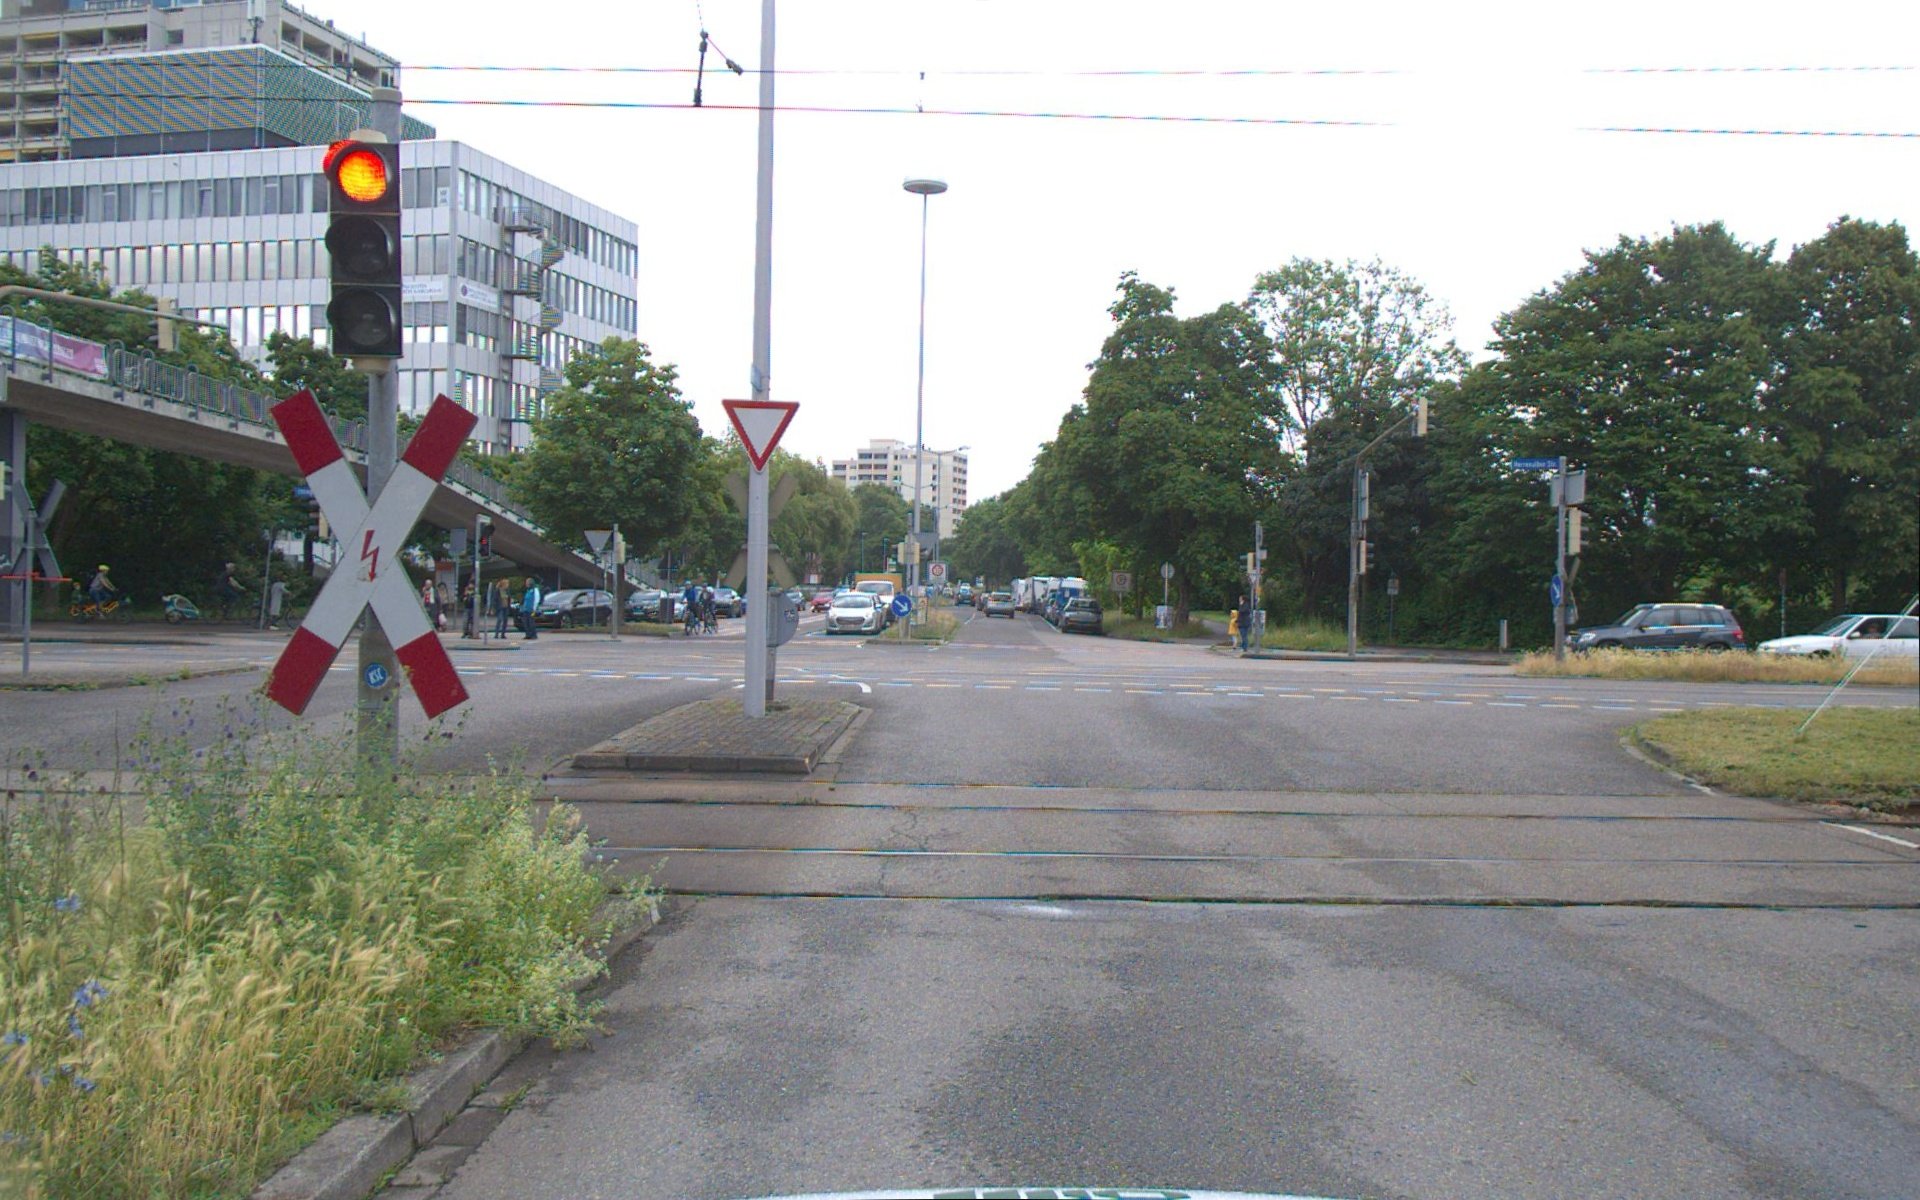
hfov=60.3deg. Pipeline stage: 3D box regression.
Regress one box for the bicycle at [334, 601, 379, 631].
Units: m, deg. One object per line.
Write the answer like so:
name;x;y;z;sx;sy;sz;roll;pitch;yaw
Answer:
bicycle;-20.150;0.512;55.265;0.618;0.941;2.523;1;1;-1

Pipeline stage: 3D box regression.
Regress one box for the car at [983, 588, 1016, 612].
car;2.584;-0.004;108.519;1.979;1.531;3.999;1;0;-1

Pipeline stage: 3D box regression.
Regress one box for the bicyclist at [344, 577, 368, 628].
bicyclist;-20.209;0.080;55.339;0.553;1.673;0.531;1;-1;0

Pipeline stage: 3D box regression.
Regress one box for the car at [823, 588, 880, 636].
car;-3.768;0.390;57.843;1.753;1.545;4.325;1;0;-1

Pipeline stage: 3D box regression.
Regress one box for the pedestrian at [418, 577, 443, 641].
pedestrian;-14.453;0.252;45.162;0.608;1.721;0.404;1;0;-15

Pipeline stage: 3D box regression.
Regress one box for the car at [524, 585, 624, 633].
car;-13.292;0.301;57.170;1.636;1.579;4.003;1;0;15

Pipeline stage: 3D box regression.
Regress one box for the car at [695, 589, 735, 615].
car;-14.183;0.096;95.874;1.727;1.419;3.999;1;0;-1

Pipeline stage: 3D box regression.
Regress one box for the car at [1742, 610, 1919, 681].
car;18.760;0.942;34.547;4.052;1.381;1.647;1;0;0

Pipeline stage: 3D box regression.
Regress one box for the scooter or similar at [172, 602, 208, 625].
scooter or similar;-24.871;0.443;53.417;0.986;0.727;0.401;1;0;-36

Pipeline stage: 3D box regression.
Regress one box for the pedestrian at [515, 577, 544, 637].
pedestrian;-11.866;0.198;45.588;0.673;1.633;0.487;1;0;-5

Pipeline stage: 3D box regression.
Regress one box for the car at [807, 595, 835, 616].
car;-9.732;0.383;116.011;1.481;1.414;3.533;1;0;2

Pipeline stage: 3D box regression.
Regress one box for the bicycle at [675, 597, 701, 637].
bicycle;-9.021;0.558;54.977;0.532;1.289;2.110;1;0;-1

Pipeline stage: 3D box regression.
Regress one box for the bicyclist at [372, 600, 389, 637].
bicyclist;-19.029;0.619;54.342;0.396;1.202;0.377;1;1;1

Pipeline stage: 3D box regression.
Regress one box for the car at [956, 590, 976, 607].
car;0.579;-0.138;154.716;1.523;1.531;3.996;1;0;-5

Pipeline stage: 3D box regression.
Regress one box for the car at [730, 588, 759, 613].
car;-13.867;0.037;106.544;1.415;1.579;3.663;1;0;-1

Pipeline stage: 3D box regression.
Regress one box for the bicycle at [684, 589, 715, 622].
bicycle;-9.039;0.187;57.492;0.712;1.120;2.264;1;0;-1

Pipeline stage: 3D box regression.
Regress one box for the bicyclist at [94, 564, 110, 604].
bicyclist;-27.104;-0.504;52.244;0.399;1.275;0.276;1;0;-18

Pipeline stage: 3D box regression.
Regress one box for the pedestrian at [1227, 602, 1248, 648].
pedestrian;8.387;0.760;50.040;0.516;1.365;0.525;1;0;-1

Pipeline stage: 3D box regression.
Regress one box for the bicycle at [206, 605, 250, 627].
bicycle;-23.956;0.517;54.142;1.283;0.704;0.286;1;0;-37

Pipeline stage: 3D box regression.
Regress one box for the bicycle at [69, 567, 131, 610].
bicycle;-27.143;-0.353;52.199;1.676;1.327;0.387;1;0;-16

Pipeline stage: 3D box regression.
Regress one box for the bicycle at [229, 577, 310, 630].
bicycle;-22.068;0.106;52.890;2.333;1.653;0.522;1;0;-30

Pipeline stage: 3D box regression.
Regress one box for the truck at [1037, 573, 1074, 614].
truck;6.908;-0.477;120.180;1.954;2.888;5.726;1;0;-4

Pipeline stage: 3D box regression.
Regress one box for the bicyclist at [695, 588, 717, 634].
bicyclist;-8.939;0.381;58.281;0.665;1.622;0.695;1;-1;-1

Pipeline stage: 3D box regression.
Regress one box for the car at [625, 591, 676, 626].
car;-14.460;0.383;77.423;1.637;1.579;3.892;1;0;0

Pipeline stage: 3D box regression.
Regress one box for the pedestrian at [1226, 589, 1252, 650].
pedestrian;8.325;0.581;49.373;0.643;1.780;0.459;1;0;-1

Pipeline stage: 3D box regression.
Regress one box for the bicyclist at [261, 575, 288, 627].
bicyclist;-21.947;0.041;52.967;0.739;1.653;0.523;1;0;-30

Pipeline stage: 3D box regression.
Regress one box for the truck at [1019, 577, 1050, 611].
truck;5.950;-0.435;132.238;1.954;2.618;5.375;1;0;-3

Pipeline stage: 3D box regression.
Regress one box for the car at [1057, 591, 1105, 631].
car;5.389;0.464;74.008;1.747;1.691;3.999;1;0;-1

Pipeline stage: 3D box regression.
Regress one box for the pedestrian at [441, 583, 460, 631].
pedestrian;-17.154;0.241;55.642;0.570;1.607;0.777;1;0;-19

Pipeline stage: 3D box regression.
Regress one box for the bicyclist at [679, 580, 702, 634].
bicyclist;-9.031;0.242;55.470;0.631;1.799;0.646;1;0;-1

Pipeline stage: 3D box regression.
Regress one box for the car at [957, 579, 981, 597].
car;0.734;-1.039;141.859;1.979;1.531;3.999;1;0;-1

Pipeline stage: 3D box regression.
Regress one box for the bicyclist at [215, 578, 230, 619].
bicyclist;-24.090;-0.046;54.042;0.380;1.326;0.275;1;0;-38

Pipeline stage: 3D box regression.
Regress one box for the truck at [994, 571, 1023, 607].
truck;4.174;-0.905;143.005;1.954;3.061;5.767;1;0;-4

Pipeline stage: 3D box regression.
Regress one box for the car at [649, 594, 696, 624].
car;-14.377;0.426;82.920;1.637;1.411;3.895;1;0;0

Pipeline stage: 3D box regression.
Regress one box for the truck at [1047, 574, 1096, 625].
truck;6.075;-0.002;90.818;2.130;2.703;6.245;0;0;-1

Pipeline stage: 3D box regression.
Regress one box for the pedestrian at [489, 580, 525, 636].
pedestrian;-12.469;0.216;45.585;0.901;1.537;0.403;1;0;-12

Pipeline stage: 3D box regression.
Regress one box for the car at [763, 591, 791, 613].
car;-13.848;0.153;125.309;1.637;1.579;4.000;1;0;0

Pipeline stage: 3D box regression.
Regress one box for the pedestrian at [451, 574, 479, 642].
pedestrian;-13.632;0.213;45.571;0.625;1.835;0.800;1;0;-10

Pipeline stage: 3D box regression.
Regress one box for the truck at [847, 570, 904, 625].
truck;-3.636;-0.135;71.978;2.111;2.237;5.840;1;0;0

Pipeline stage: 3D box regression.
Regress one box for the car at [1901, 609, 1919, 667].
car;26.573;1.020;41.947;4.373;1.465;1.846;1;0;0

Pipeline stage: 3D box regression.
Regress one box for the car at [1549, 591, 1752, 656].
car;17.516;0.587;42.094;4.373;1.530;1.846;1;0;0
